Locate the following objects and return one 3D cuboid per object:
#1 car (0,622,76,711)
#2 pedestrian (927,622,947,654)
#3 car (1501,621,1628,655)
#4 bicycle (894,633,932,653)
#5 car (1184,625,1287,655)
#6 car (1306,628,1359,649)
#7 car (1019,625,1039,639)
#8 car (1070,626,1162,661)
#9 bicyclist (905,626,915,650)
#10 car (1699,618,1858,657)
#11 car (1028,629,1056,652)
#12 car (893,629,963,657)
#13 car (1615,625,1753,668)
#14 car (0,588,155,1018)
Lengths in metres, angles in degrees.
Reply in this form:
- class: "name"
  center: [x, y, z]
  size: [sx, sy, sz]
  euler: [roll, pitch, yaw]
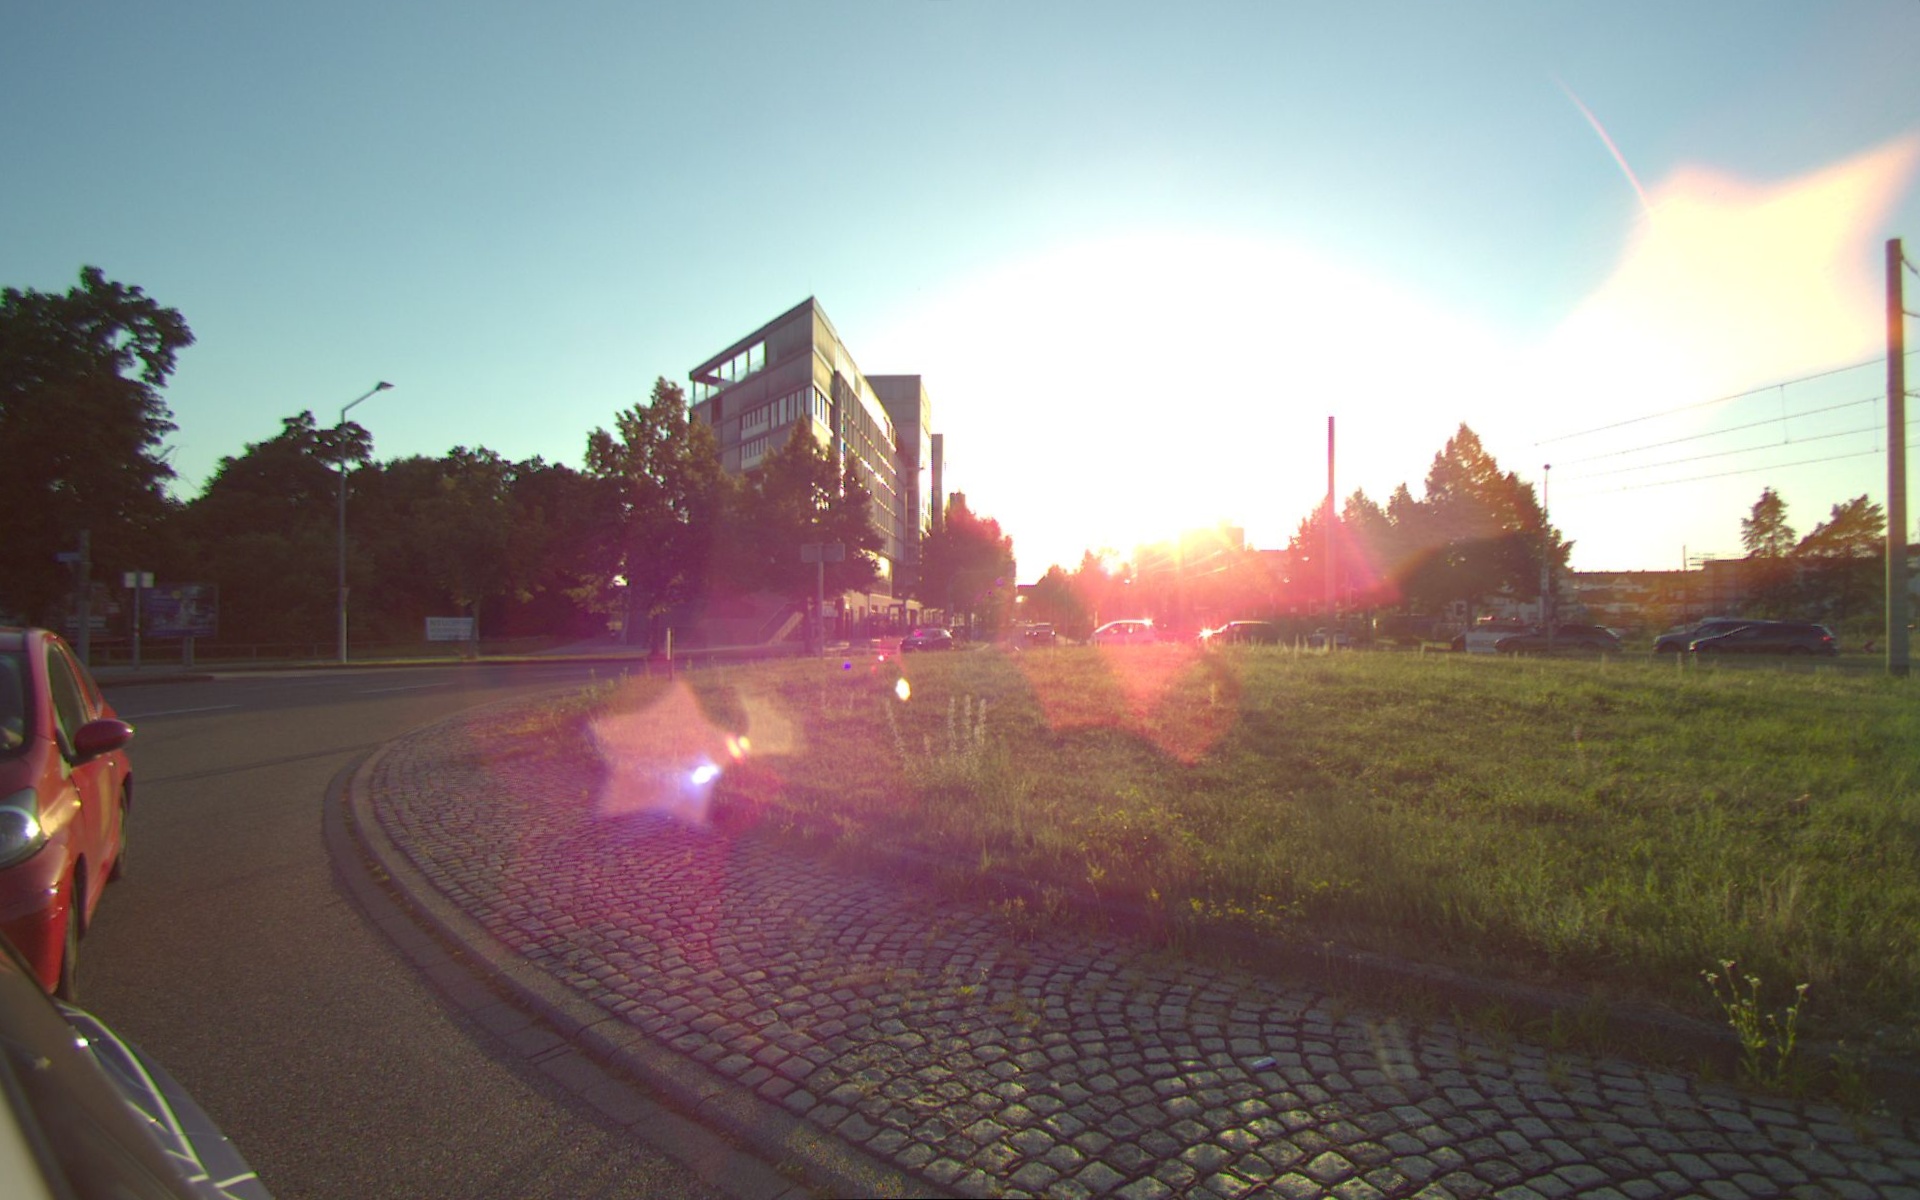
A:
- class: "car"
  center: [-19.314, 1.242, 19.532]
  size: [4.177, 1.618, 1.982]
  euler: [-1, -1, 27]
- class: "pedestrian"
  center: [-1.490, 2.422, 64.658]
  size: [0.995, 2.029, 0.768]
  euler: [-1, 0, 29]
- class: "car"
  center: [25.718, 1.593, 43.123]
  size: [4.351, 1.386, 1.972]
  euler: [-1, -2, 42]
- class: "bicycle"
  center: [-2.904, 2.678, 62.980]
  size: [2.315, 1.254, 0.742]
  euler: [0, -1, 0]
- class: "car"
  center: [13.012, 1.890, 47.994]
  size: [4.325, 1.386, 1.998]
  euler: [0, -1, 3]
- class: "car"
  center: [25.698, 2.662, 70.053]
  size: [2.082, 1.377, 4.464]
  euler: [0, -1, 1]
- class: "car"
  center: [7.431, 3.472, 109.015]
  size: [1.973, 1.464, 3.998]
  euler: [0, -1, 1]
- class: "car"
  center: [7.331, 2.040, 47.728]
  size: [3.831, 1.592, 1.958]
  euler: [0, -1, -7]
- class: "bicyclist"
  center: [-3.085, 2.354, 63.001]
  size: [0.602, 1.451, 0.692]
  euler: [0, -1, -2]
- class: "car"
  center: [30.622, 1.381, 37.939]
  size: [1.969, 1.386, 4.389]
  euler: [1, -2, -42]
- class: "car"
  center: [6.942, 3.452, 86.518]
  size: [1.972, 1.827, 5.303]
  euler: [-2, -2, 1]
- class: "car"
  center: [-1.658, 2.263, 54.247]
  size: [1.746, 1.389, 4.078]
  euler: [-1, -2, 33]
- class: "car"
  center: [31.815, 1.987, 44.554]
  size: [1.866, 1.750, 4.636]
  euler: [1, -1, -41]
- class: "car"
  center: [-4.904, 0.705, 4.622]
  size: [1.661, 1.431, 4.010]
  euler: [1, -1, -35]
